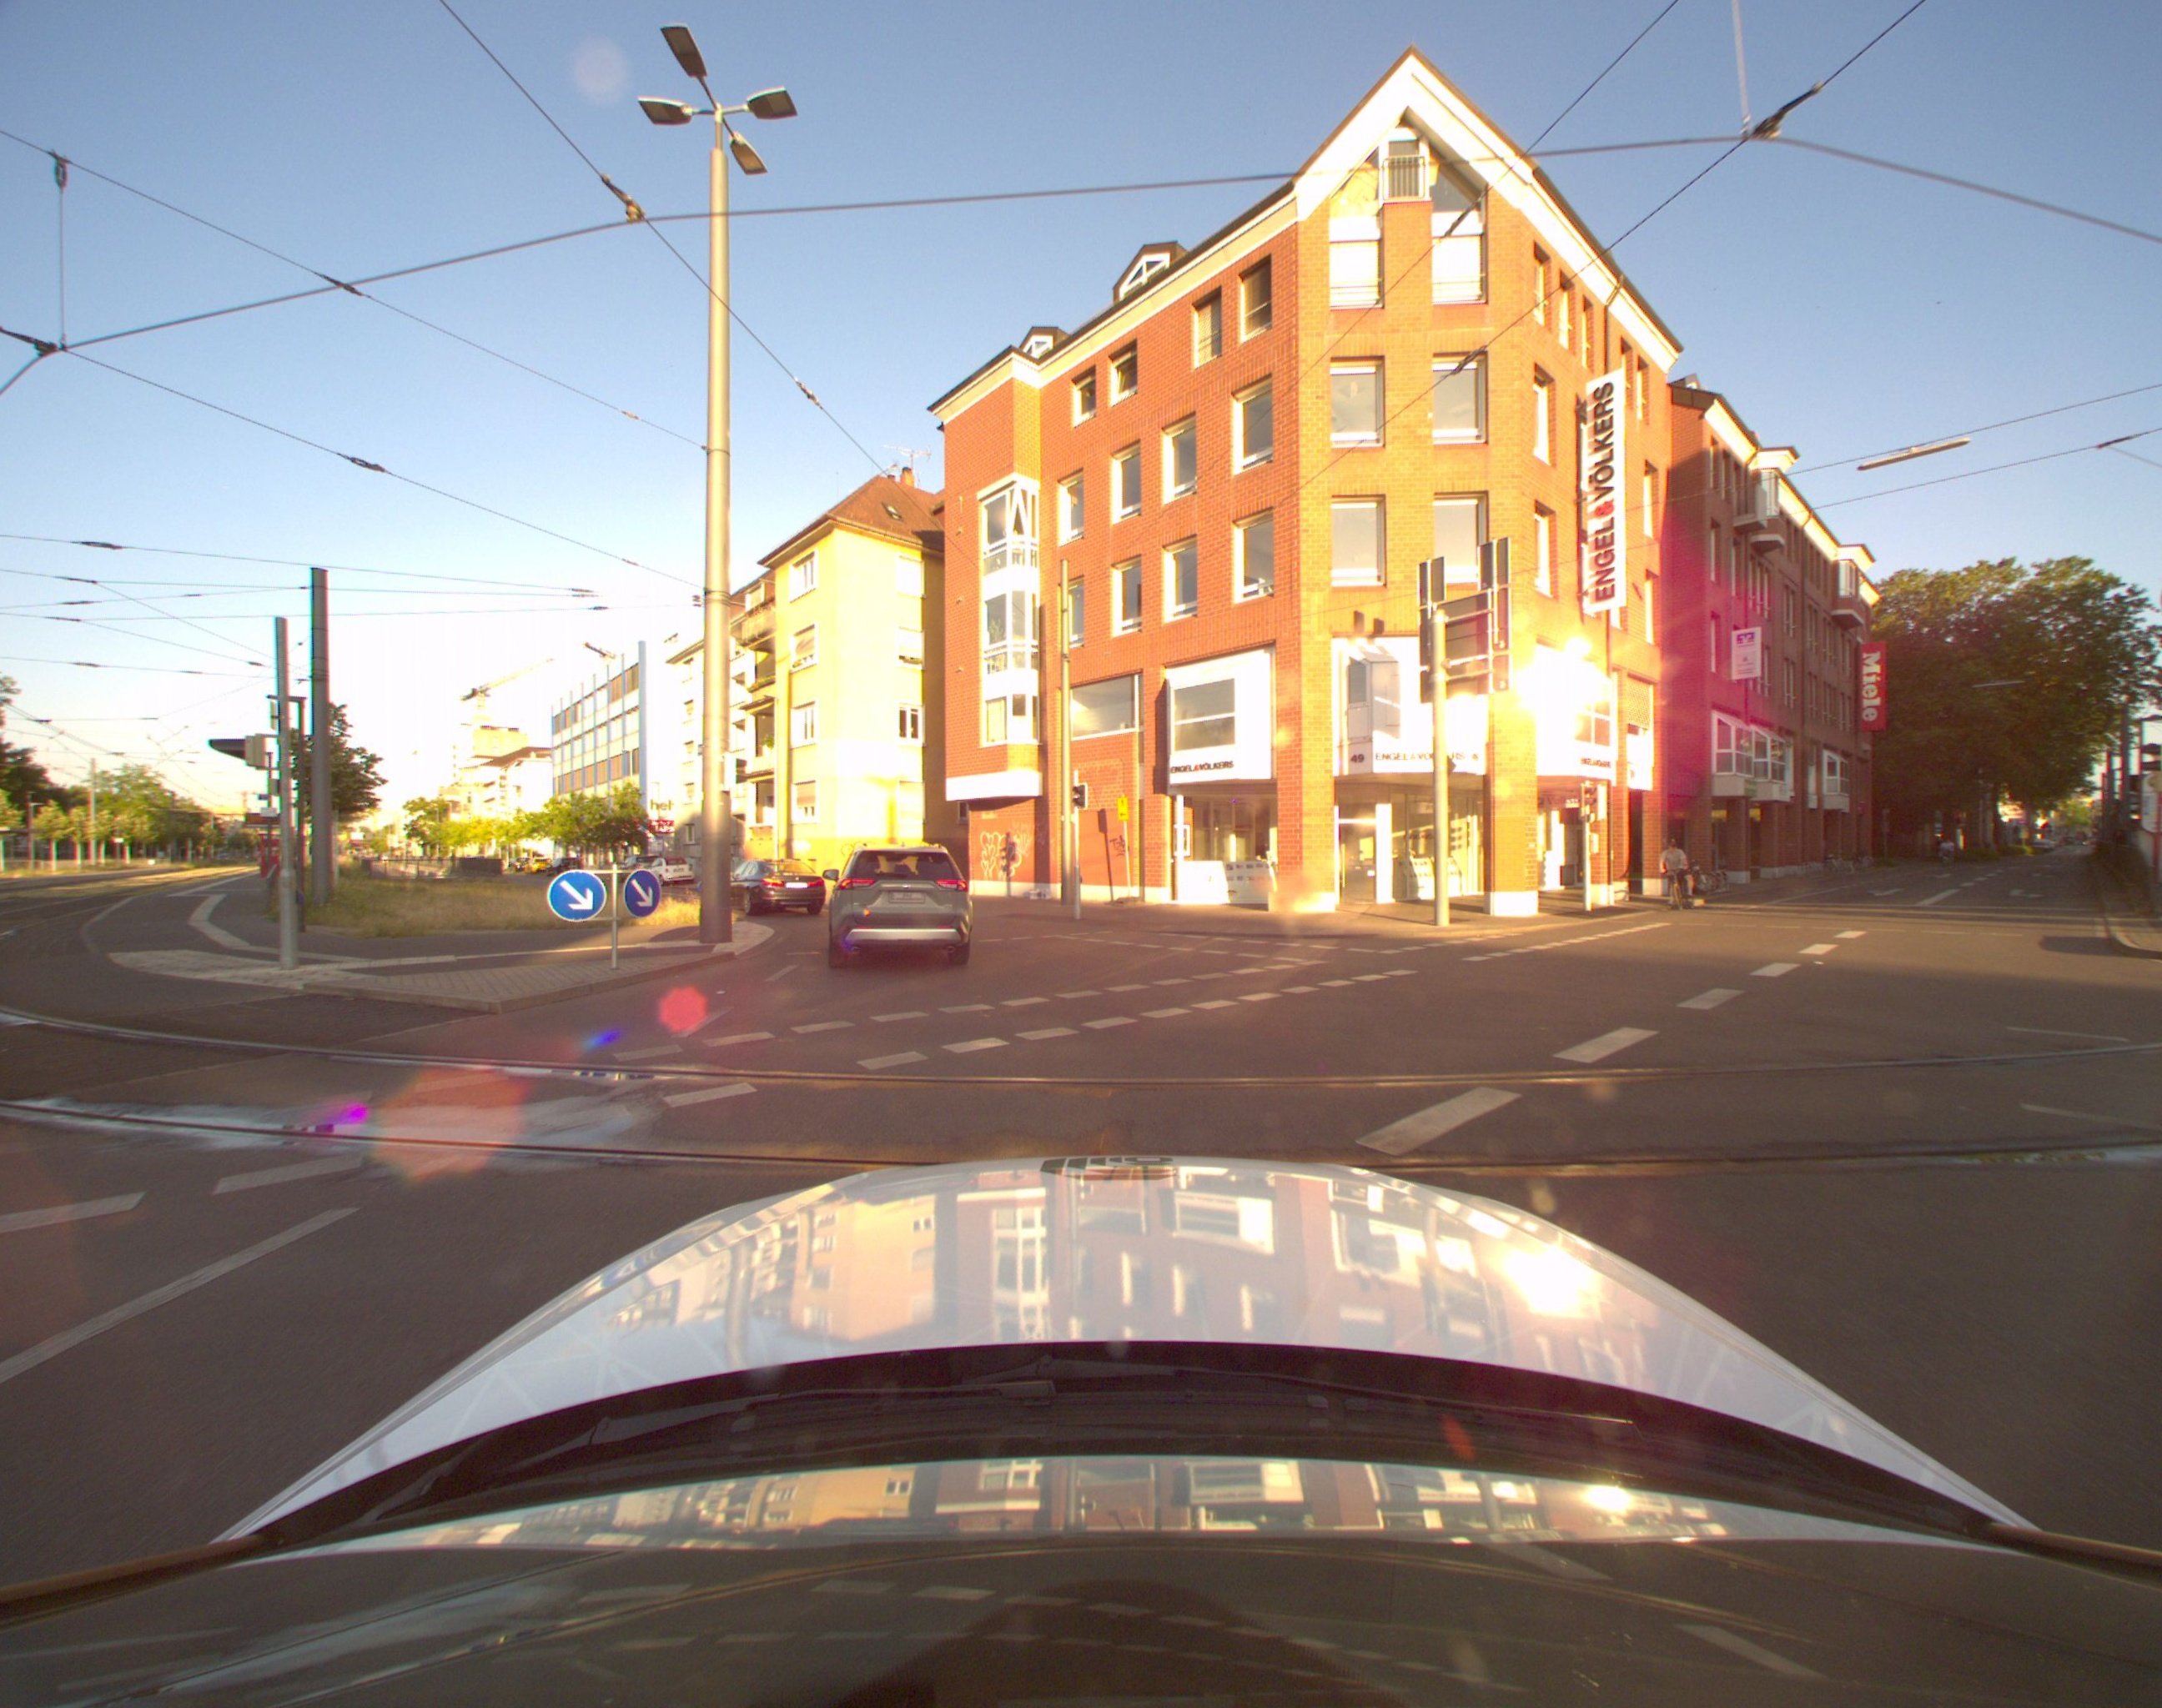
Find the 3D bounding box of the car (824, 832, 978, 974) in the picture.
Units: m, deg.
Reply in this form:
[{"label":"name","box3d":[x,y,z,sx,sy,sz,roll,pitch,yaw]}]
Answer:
[{"label":"car","box3d":[-2.812,0.619,12.129,1.862,1.714,4.168,1,-1,-17]}]

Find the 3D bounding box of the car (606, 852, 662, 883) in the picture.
[{"label":"car","box3d":[-26.248,0.735,47.704,1.773,1.654,4.473,-3,2,-43]}]

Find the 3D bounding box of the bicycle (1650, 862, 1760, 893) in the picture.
[{"label":"bicycle","box3d":[20.082,0.738,26.290,0.816,0.972,2.708,0,-1,-38]}]

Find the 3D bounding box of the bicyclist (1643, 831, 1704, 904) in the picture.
[{"label":"bicyclist","box3d":[16.013,0.331,21.995,1.241,1.860,1.002,-1,4,-42]}]

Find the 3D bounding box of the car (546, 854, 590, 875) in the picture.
[{"label":"car","box3d":[-39.221,0.771,62.195,1.836,1.566,4.751,-1,1,-45]}]

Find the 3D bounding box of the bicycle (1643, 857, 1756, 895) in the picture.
[{"label":"bicycle","box3d":[19.405,0.666,25.636,0.816,1.102,2.708,-1,1,-38]}]

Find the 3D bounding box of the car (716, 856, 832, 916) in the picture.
[{"label":"car","box3d":[-8.379,0.797,22.026,1.872,1.462,4.146,1,-1,-36]}]

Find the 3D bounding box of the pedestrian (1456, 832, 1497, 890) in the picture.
[{"label":"pedestrian","box3d":[12.515,0.203,25.788,0.934,1.751,0.804,-2,3,-37]}]

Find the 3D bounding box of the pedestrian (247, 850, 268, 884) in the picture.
[{"label":"pedestrian","box3d":[-44.212,0.688,43.721,0.628,1.744,0.732,1,2,39]}]

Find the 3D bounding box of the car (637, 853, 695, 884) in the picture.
[{"label":"car","box3d":[-22.476,0.767,44.020,3.556,1.517,1.685,0,3,44]}]

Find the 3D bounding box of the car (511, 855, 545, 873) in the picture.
[{"label":"car","box3d":[-48.154,0.854,70.935,4.078,1.454,1.699,0,1,45]}]

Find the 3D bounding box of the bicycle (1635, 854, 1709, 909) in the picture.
[{"label":"bicycle","box3d":[15.969,0.693,21.976,2.812,1.291,1.006,-1,4,-42]}]

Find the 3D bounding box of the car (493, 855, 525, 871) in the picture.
[{"label":"car","box3d":[-55.090,0.829,78.431,4.077,1.454,1.836,0,1,45]}]

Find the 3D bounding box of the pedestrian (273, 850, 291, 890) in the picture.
[{"label":"pedestrian","box3d":[-35.698,0.716,36.379,0.474,1.787,0.619,-1,0,-36]}]

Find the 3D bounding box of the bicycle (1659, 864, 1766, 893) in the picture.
[{"label":"bicycle","box3d":[20.934,0.785,27.073,0.817,0.863,2.706,-1,1,-42]}]
